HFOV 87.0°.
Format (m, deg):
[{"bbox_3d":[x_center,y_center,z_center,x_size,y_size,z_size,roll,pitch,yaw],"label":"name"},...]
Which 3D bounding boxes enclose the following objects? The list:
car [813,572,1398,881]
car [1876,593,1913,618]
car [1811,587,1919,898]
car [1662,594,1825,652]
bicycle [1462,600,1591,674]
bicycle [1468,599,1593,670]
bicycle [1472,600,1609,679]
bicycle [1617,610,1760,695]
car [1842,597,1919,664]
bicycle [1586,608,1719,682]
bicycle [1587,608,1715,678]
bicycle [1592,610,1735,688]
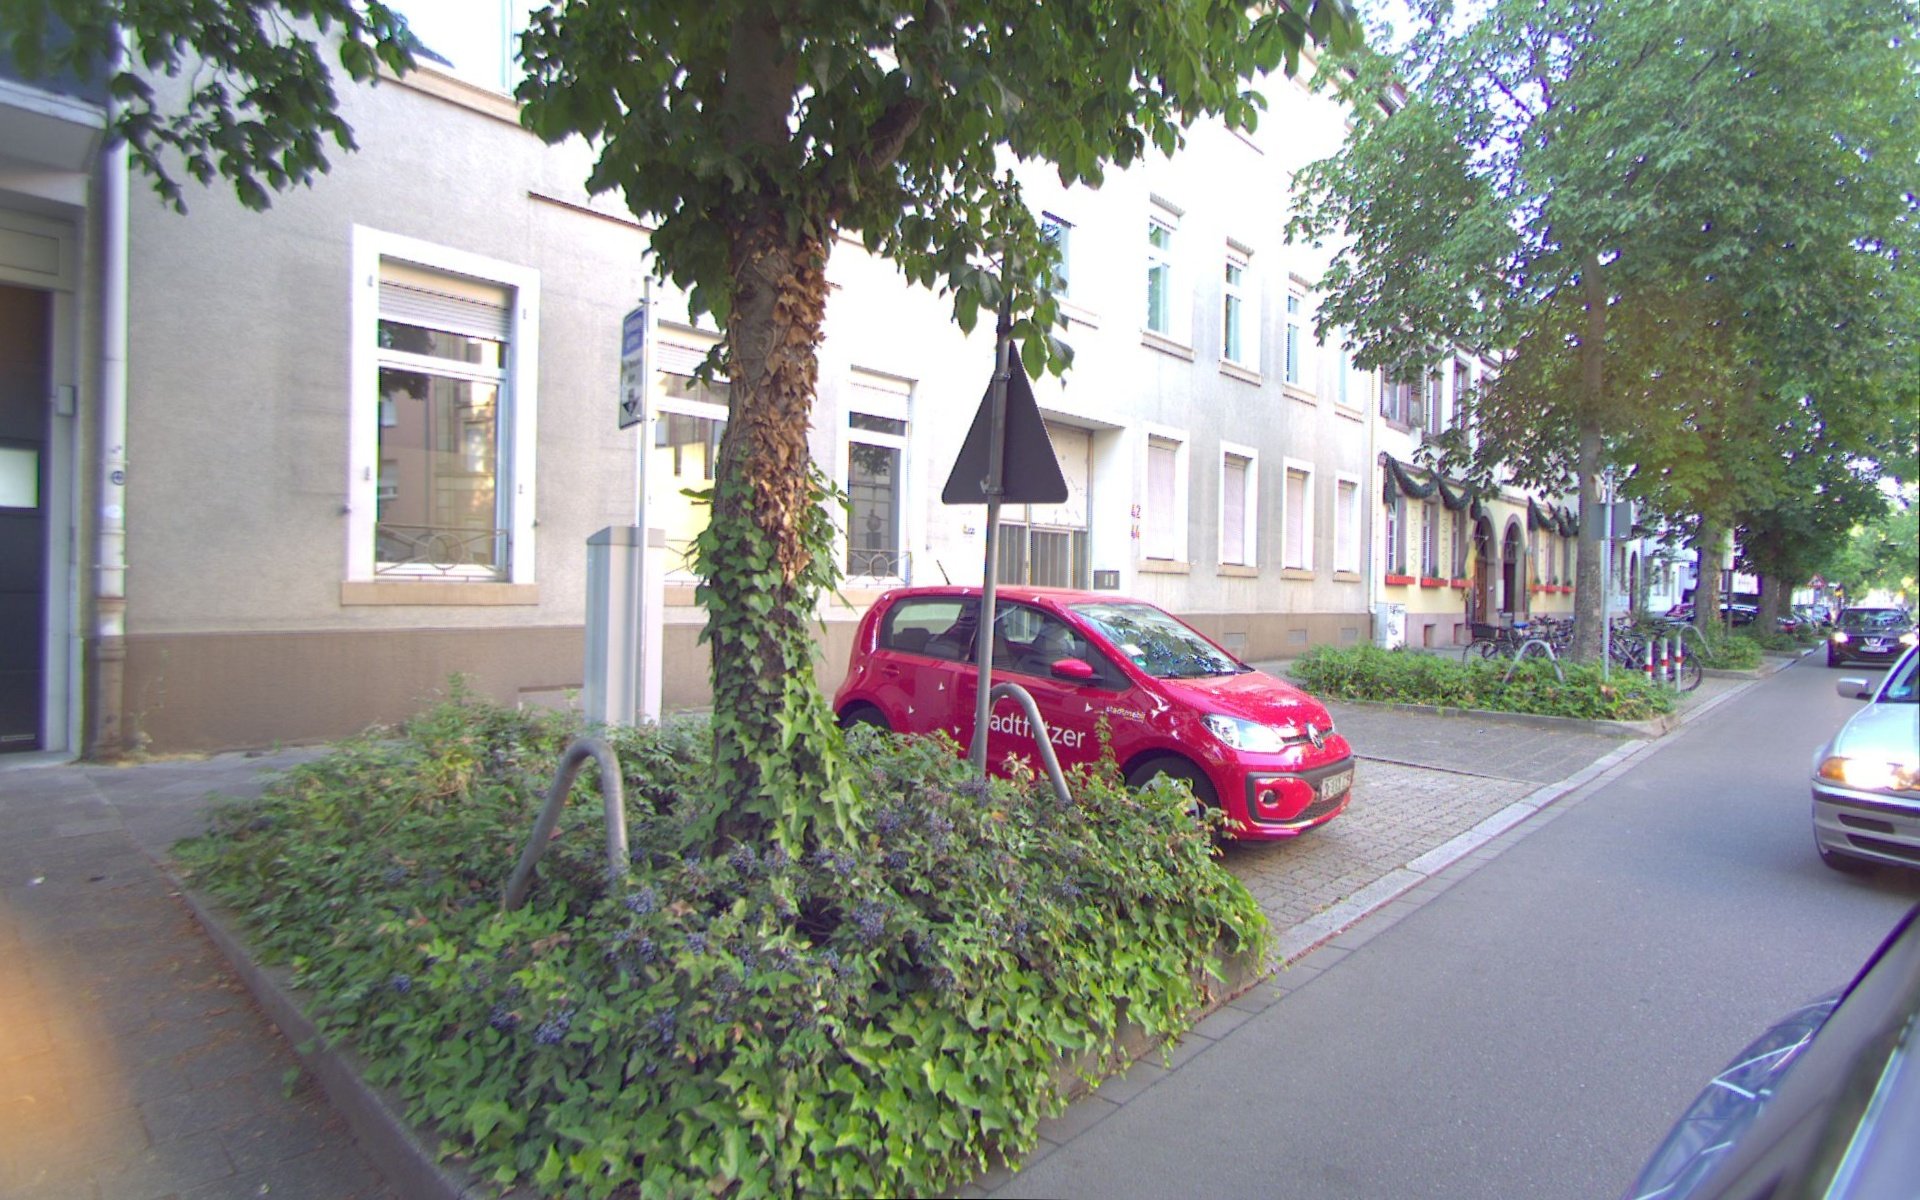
[{"bbox_3d":[0.802,0.587,6.815,3.608,1.495,1.639,2,1,42],"label":"car"},{"bbox_3d":[64.067,0.356,69.391,1.801,1.571,3.937,2,1,43],"label":"car"},{"bbox_3d":[6.469,0.683,5.845,4.358,1.460,1.710,0,1,-41],"label":"car"},{"bbox_3d":[26.611,0.726,34.453,4.232,1.761,1.715,2,1,43],"label":"car"},{"bbox_3d":[10.297,0.647,18.434,2.014,1.242,0.529,2,1,33],"label":"bicycle"},{"bbox_3d":[10.928,0.635,19.428,2.017,1.242,0.529,2,1,37],"label":"bicycle"},{"bbox_3d":[10.081,0.656,17.624,2.014,1.242,0.529,2,1,33],"label":"bicycle"},{"bbox_3d":[11.849,0.828,16.535,1.835,1.242,0.529,2,1,33],"label":"bicycle"},{"bbox_3d":[24.019,0.727,25.982,1.802,1.571,3.935,2,1,45],"label":"car"},{"bbox_3d":[12.987,0.815,19.015,2.019,1.242,0.528,2,1,39],"label":"bicycle"},{"bbox_3d":[13.468,0.806,19.768,2.019,1.242,0.528,2,1,39],"label":"bicycle"},{"bbox_3d":[12.352,0.830,17.821,2.019,1.242,0.528,2,1,39],"label":"bicycle"}]
